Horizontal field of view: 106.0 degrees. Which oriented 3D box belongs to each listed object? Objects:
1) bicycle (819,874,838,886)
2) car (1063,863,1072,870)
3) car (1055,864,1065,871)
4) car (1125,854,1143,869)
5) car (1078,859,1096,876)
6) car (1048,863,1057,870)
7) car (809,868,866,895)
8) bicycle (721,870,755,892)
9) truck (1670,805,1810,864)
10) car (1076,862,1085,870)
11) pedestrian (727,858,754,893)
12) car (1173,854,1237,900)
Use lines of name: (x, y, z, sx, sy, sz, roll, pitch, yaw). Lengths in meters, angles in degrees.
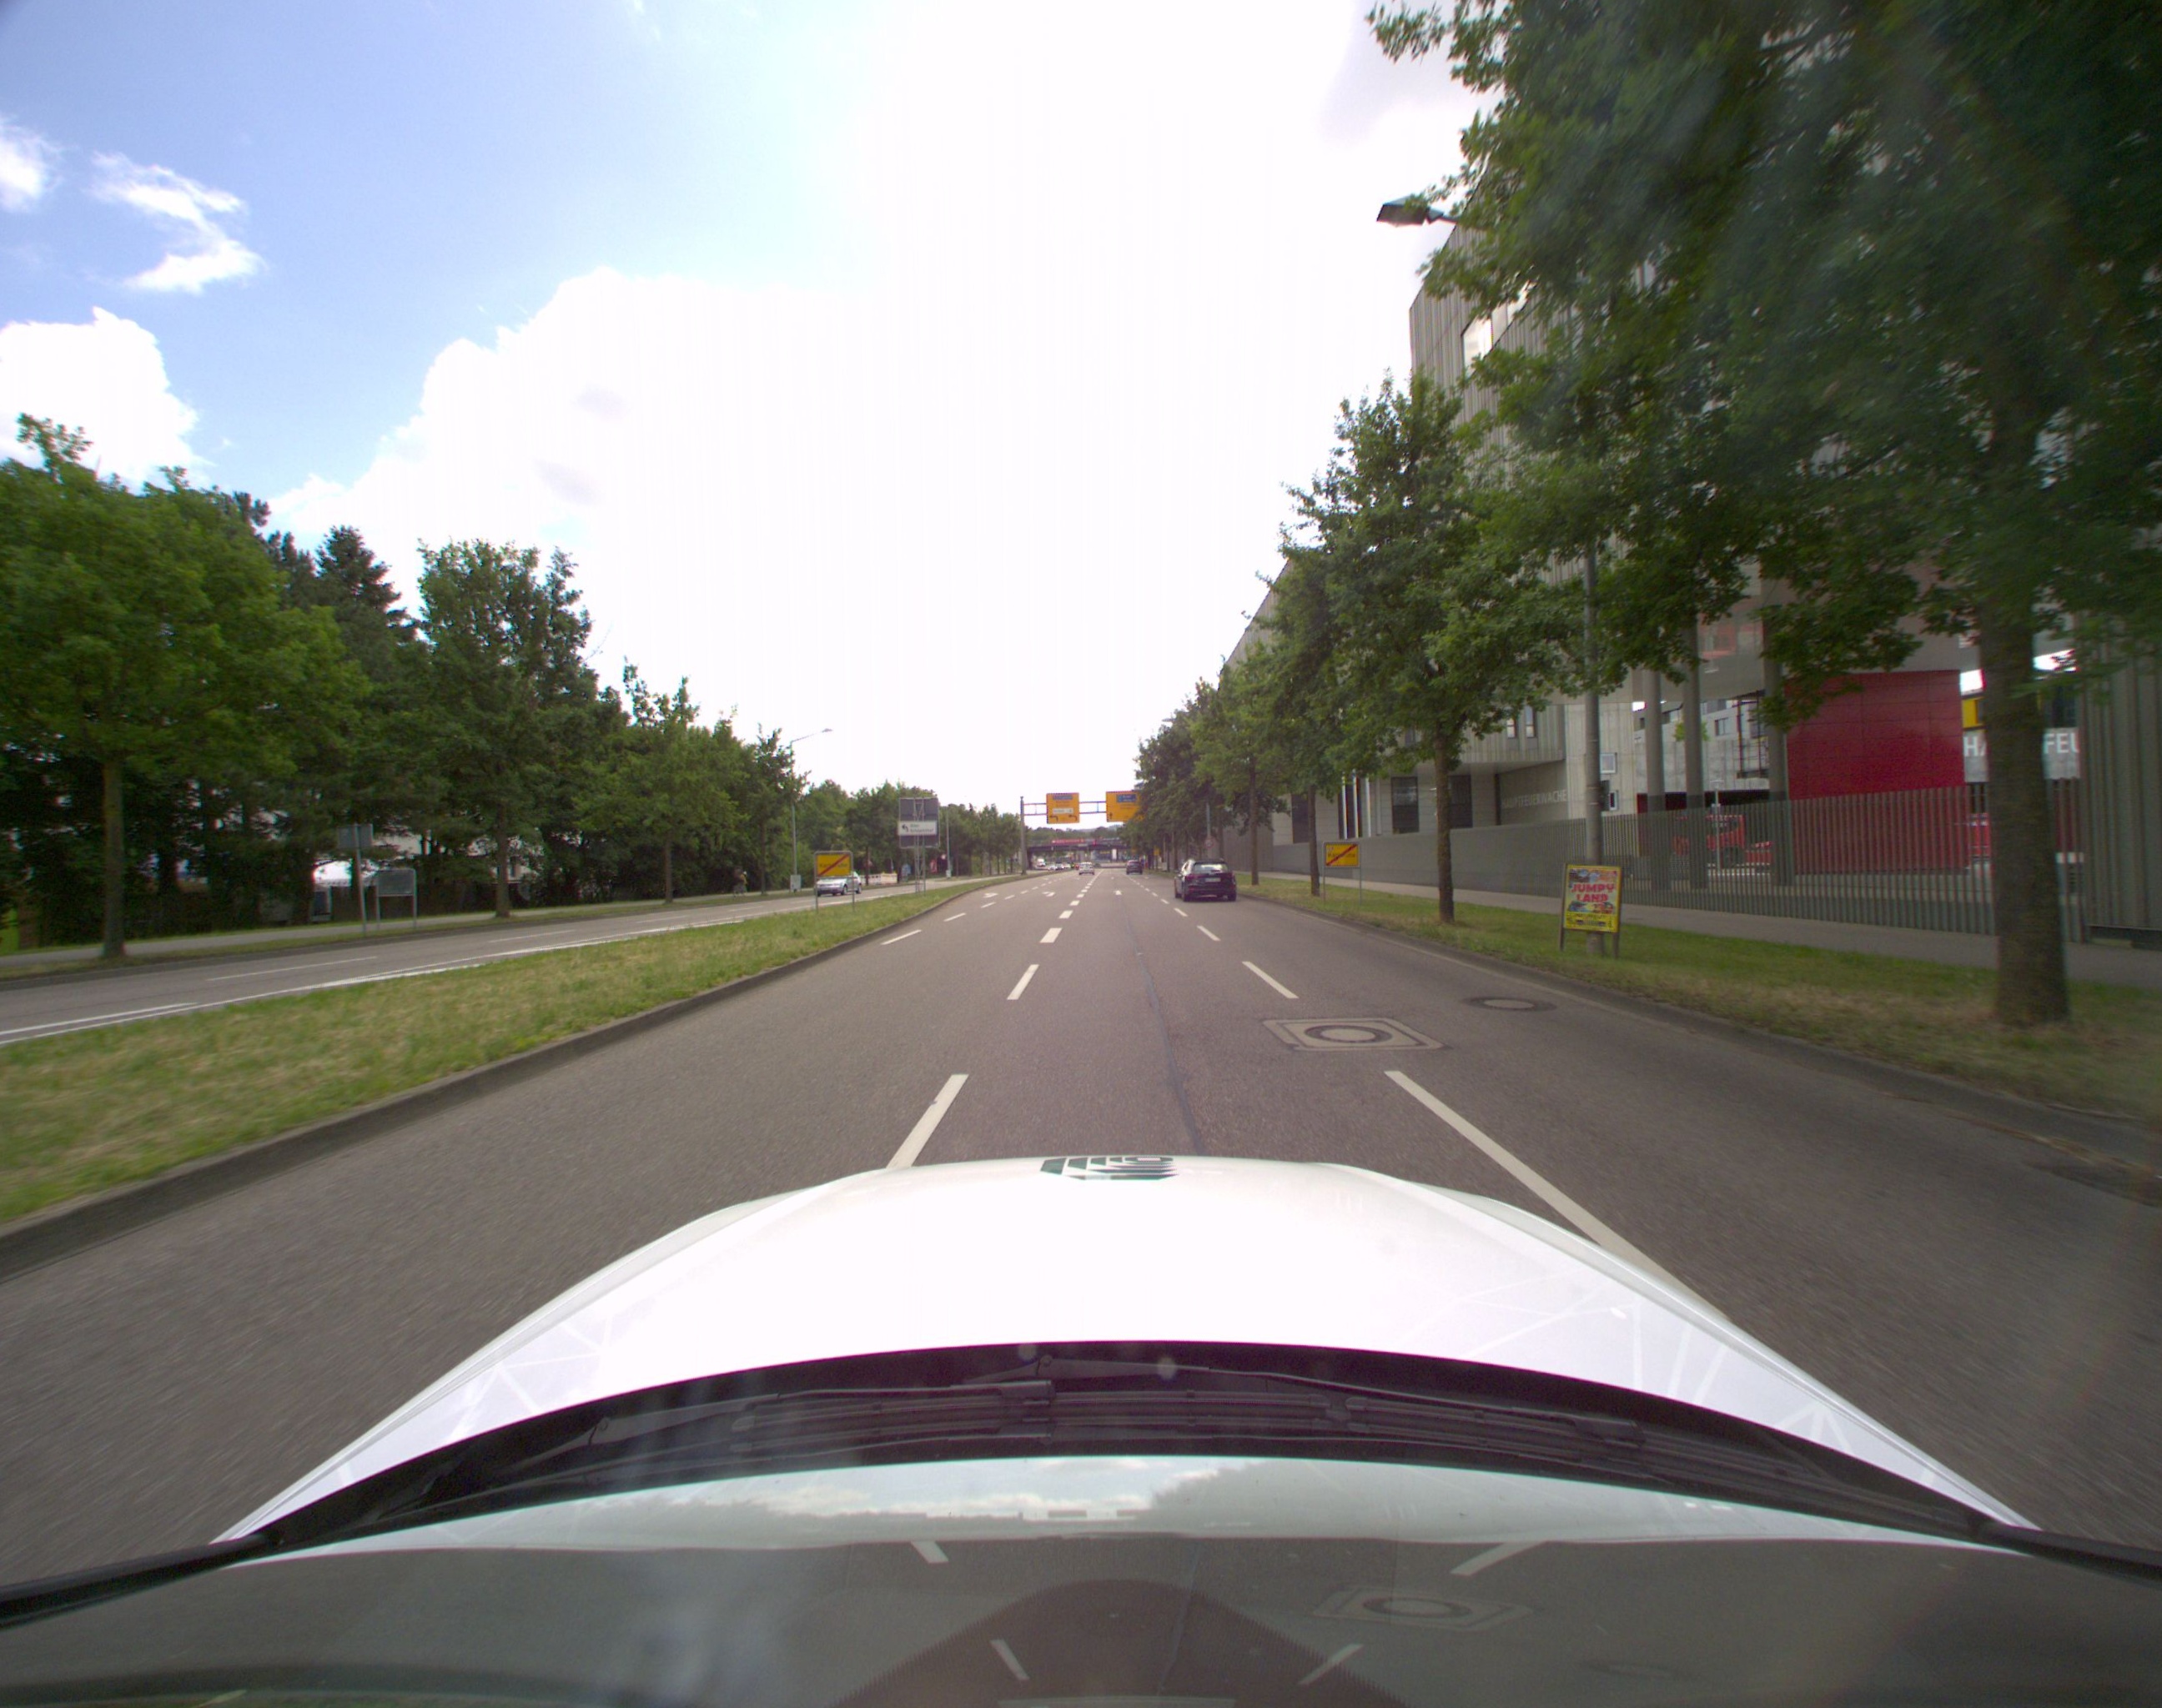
bicycle: (-23.051, 2.413, 74.374, 0.888, 1.059, 2.337, -2, -1, -38)
car: (-3.460, 3.338, 212.341, 1.986, 1.717, 4.001, 0, -2, 2)
car: (-4.676, 3.062, 183.104, 1.985, 1.618, 4.003, -2, -1, 3)
car: (6.263, 0.893, 95.443, 1.985, 1.626, 4.314, -3, 0, 4)
car: (0.688, 1.571, 95.753, 1.988, 2.014, 3.998, -1, -1, -1)
car: (-6.803, 3.040, 196.389, 1.986, 1.783, 4.000, 0, -2, 1)
car: (-14.083, 1.580, 47.324, 1.632, 1.329, 4.388, -2, 0, 5)
bicycle: (-20.117, 1.566, 47.840, 0.804, 1.226, 2.503, -2, 0, 3)
truck: (35.581, -0.999, 44.073, 5.674, 3.069, 2.318, 0, -2, 0)
car: (-0.100, 2.437, 164.321, 1.769, 1.463, 3.998, -1, -1, -1)
pedestrian: (-20.062, 1.245, 47.967, 0.966, 2.013, 1.250, -2, 0, 3)
car: (4.262, 0.766, 28.434, 1.678, 1.463, 4.000, -1, -1, 1)
